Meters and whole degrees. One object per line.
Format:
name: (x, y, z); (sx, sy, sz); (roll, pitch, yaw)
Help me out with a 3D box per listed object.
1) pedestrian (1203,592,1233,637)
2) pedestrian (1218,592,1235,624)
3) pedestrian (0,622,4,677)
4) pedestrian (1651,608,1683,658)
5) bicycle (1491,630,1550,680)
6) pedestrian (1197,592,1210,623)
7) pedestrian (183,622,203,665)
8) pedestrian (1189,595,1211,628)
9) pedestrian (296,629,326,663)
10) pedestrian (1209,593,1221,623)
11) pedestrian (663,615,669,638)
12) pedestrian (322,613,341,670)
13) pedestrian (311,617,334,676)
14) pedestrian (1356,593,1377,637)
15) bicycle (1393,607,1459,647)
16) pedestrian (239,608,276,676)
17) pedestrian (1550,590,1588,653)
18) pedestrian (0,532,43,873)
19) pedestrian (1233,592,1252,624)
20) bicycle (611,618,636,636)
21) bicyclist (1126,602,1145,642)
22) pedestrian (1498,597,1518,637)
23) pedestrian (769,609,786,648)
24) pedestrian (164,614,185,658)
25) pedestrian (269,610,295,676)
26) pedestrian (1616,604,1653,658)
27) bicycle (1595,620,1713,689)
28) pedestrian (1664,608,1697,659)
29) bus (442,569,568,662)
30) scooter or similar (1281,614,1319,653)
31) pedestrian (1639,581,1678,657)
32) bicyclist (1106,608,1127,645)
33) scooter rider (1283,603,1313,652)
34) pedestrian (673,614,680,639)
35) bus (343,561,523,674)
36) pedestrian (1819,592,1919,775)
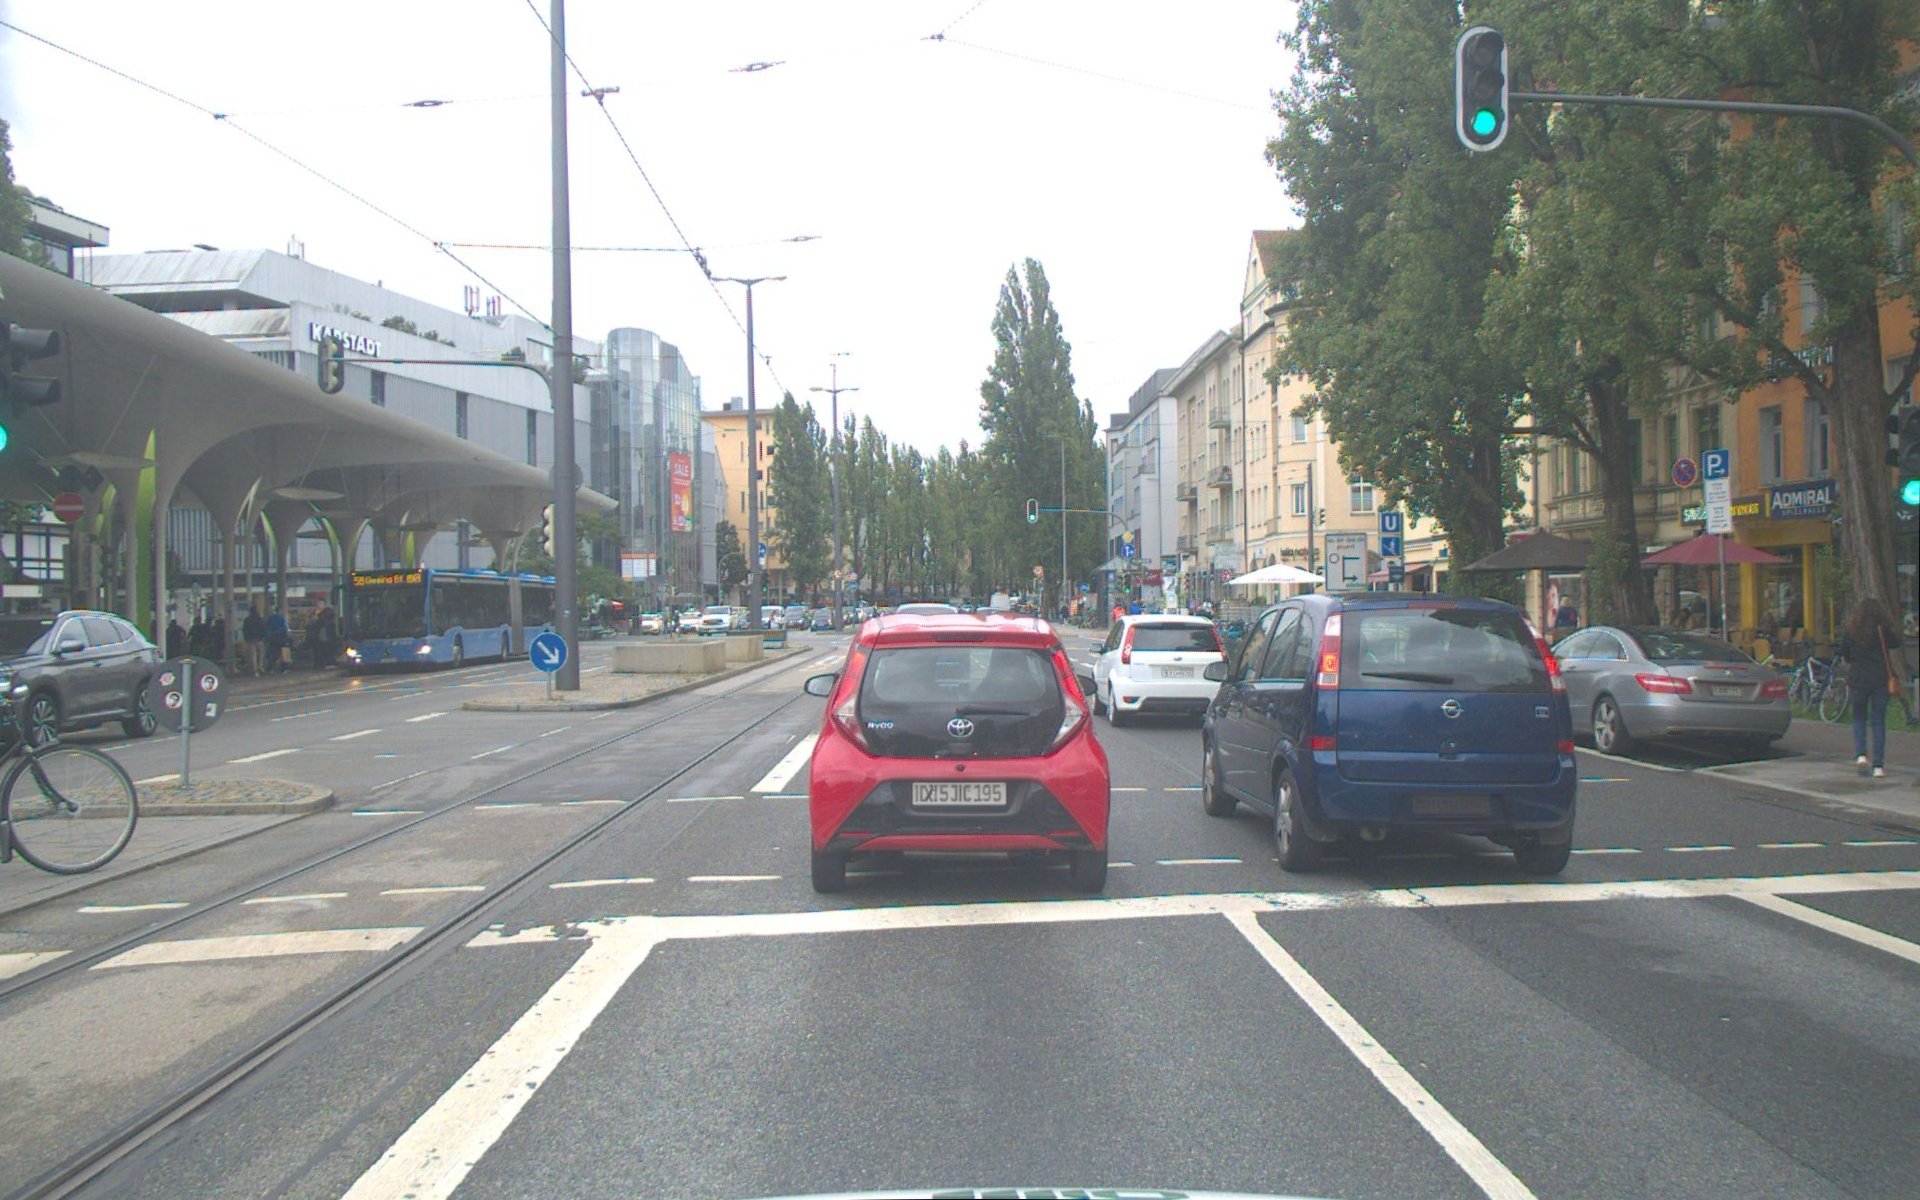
pedestrian: (10.330, 0.588, 66.260); (0.867, 1.773, 0.854); (-1, 0, -17)
pedestrian: (14.956, 0.442, 92.818); (0.637, 1.734, 0.726); (-3, 3, -30)
pedestrian: (-31.477, 1.616, 53.216); (0.853, 1.760, 0.895); (-1, 0, 1)
pedestrian: (18.786, 0.865, 43.937); (0.571, 1.303, 0.583); (-1, 0, -2)
bicycle: (10.947, 1.066, 32.365); (0.448, 0.907, 1.893); (-1, 0, -2)
pedestrian: (13.622, 0.419, 92.623); (0.554, 1.700, 0.562); (-1, 3, 21)
pedestrian: (-29.348, 1.669, 63.308); (0.562, 1.639, 0.546); (-1, 0, -11)
pedestrian: (11.838, 0.572, 81.578); (0.717, 1.567, 0.887); (-1, 0, -15)
pedestrian: (-25.811, 1.831, 65.783); (0.833, 1.340, 0.865); (0, -1, -45)
pedestrian: (14.305, 0.429, 92.777); (0.548, 1.637, 0.568); (-1, 3, 12)
pedestrian: (-20.897, 1.861, 117.479); (0.347, 1.594, 0.270); (-1, 0, -12)
pedestrian: (-18.055, 1.191, 47.525); (0.385, 1.633, 0.390); (-1, 0, -6)
pedestrian: (-19.071, 1.388, 49.486); (0.564, 1.764, 0.502); (-1, -1, -28)
pedestrian: (15.557, 0.576, 63.339); (0.602, 1.661, 0.677); (-1, 0, -1)
bicycle: (12.500, 0.724, 44.367); (1.690, 1.064, 0.387); (0, 1, -7)
pedestrian: (-18.505, 1.107, 43.602); (0.701, 1.752, 0.879); (-1, 0, -11)
pedestrian: (16.325, 0.581, 44.369); (0.696, 1.661, 0.786); (-1, 0, -1)
pedestrian: (-5.647, 0.552, 8.905); (0.840, 1.843, 0.898); (0, -1, 17)
pedestrian: (16.249, 0.469, 95.139); (0.914, 1.786, 1.065); (-1, 0, -1)
bicycle: (-21.667, 1.732, 106.465); (1.541, 1.131, 0.373); (-1, 0, 3)
bicyclist: (8.629, 1.081, 81.316); (0.747, 1.902, 1.132); (-1, 0, -2)
pedestrian: (18.606, 0.577, 56.182); (0.485, 1.355, 0.552); (-1, 0, -1)
pedestrian: (-7.732, 1.202, 69.987); (0.513, 1.647, 0.461); (-1, -1, 43)
pedestrian: (-29.378, 1.339, 61.870); (0.562, 1.639, 0.546); (-1, 0, -11)
pedestrian: (-18.522, 1.160, 45.204); (0.556, 1.774, 0.752); (-1, 0, -17)
pedestrian: (15.857, 0.720, 38.894); (0.588, 1.243, 0.666); (-1, 0, -1)
bicycle: (12.401, 0.965, 29.585); (1.848, 1.194, 0.582); (-1, 0, 0)
pedestrian: (18.783, 0.863, 43.099); (0.571, 1.303, 0.583); (-1, 0, -2)
bus: (-16.576, 0.532, 60.794); (2.607, 3.060, 7.510); (-3, 0, -2)
scooter or similar: (9.781, 0.949, 47.617); (0.760, 1.094, 1.256); (-1, 0, -3)
pedestrian: (16.451, 0.443, 38.967); (0.588, 1.770, 0.666); (-1, 0, -1)
bicyclist: (7.292, 1.205, 77.012); (0.603, 1.686, 1.248); (-1, 0, -10)
scooter rider: (9.736, 0.787, 47.623); (0.687, 1.413, 0.643); (-1, 0, -3)
pedestrian: (-20.140, 1.868, 117.578); (0.437, 1.790, 0.355); (-1, 0, -7)
bus: (-16.207, 0.513, 51.777); (2.607, 3.060, 10.509); (-3, 0, -3)
pedestrian: (8.261, 0.729, 14.934); (0.748, 1.590, 0.758); (0, 0, 41)
